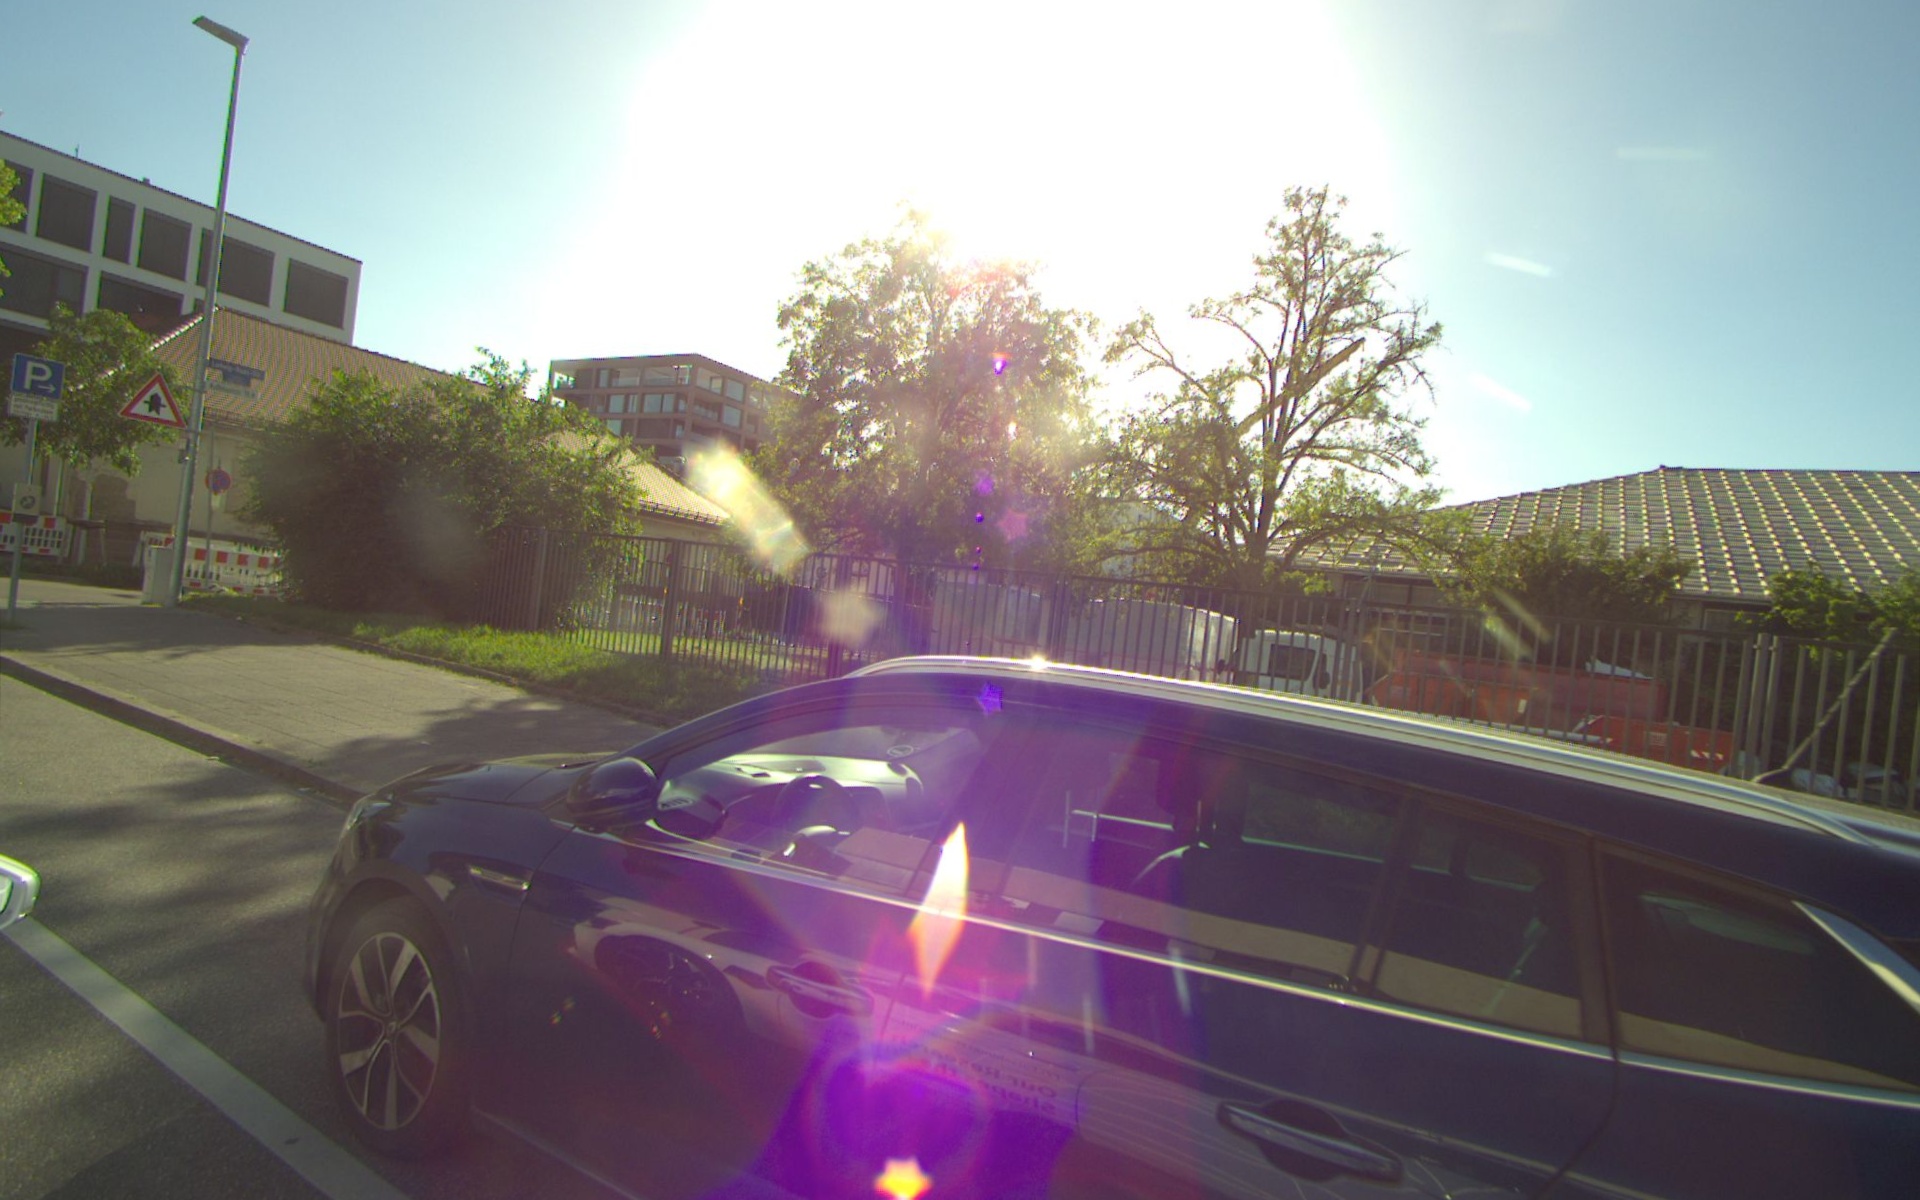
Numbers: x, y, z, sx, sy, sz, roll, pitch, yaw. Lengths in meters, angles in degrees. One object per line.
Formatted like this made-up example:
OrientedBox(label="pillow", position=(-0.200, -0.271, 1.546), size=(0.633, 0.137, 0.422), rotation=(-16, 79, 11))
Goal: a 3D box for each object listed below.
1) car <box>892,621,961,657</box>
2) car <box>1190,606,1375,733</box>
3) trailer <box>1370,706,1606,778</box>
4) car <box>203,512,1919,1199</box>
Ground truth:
OrientedBox(label="car", position=(-1.637, 1.956, 50.054), size=(1.785, 1.424, 3.321), rotation=(6, -2, 32))
OrientedBox(label="car", position=(7.202, 1.593, 22.038), size=(1.970, 2.228, 5.285), rotation=(8, 0, 37))
OrientedBox(label="trailer", position=(13.423, 3.566, 25.775), size=(5.036, 0.930, 1.896), rotation=(6, -2, 40))
OrientedBox(label="car", position=(0.095, 0.749, 2.583), size=(4.144, 1.471, 1.820), rotation=(7, 0, 32))
